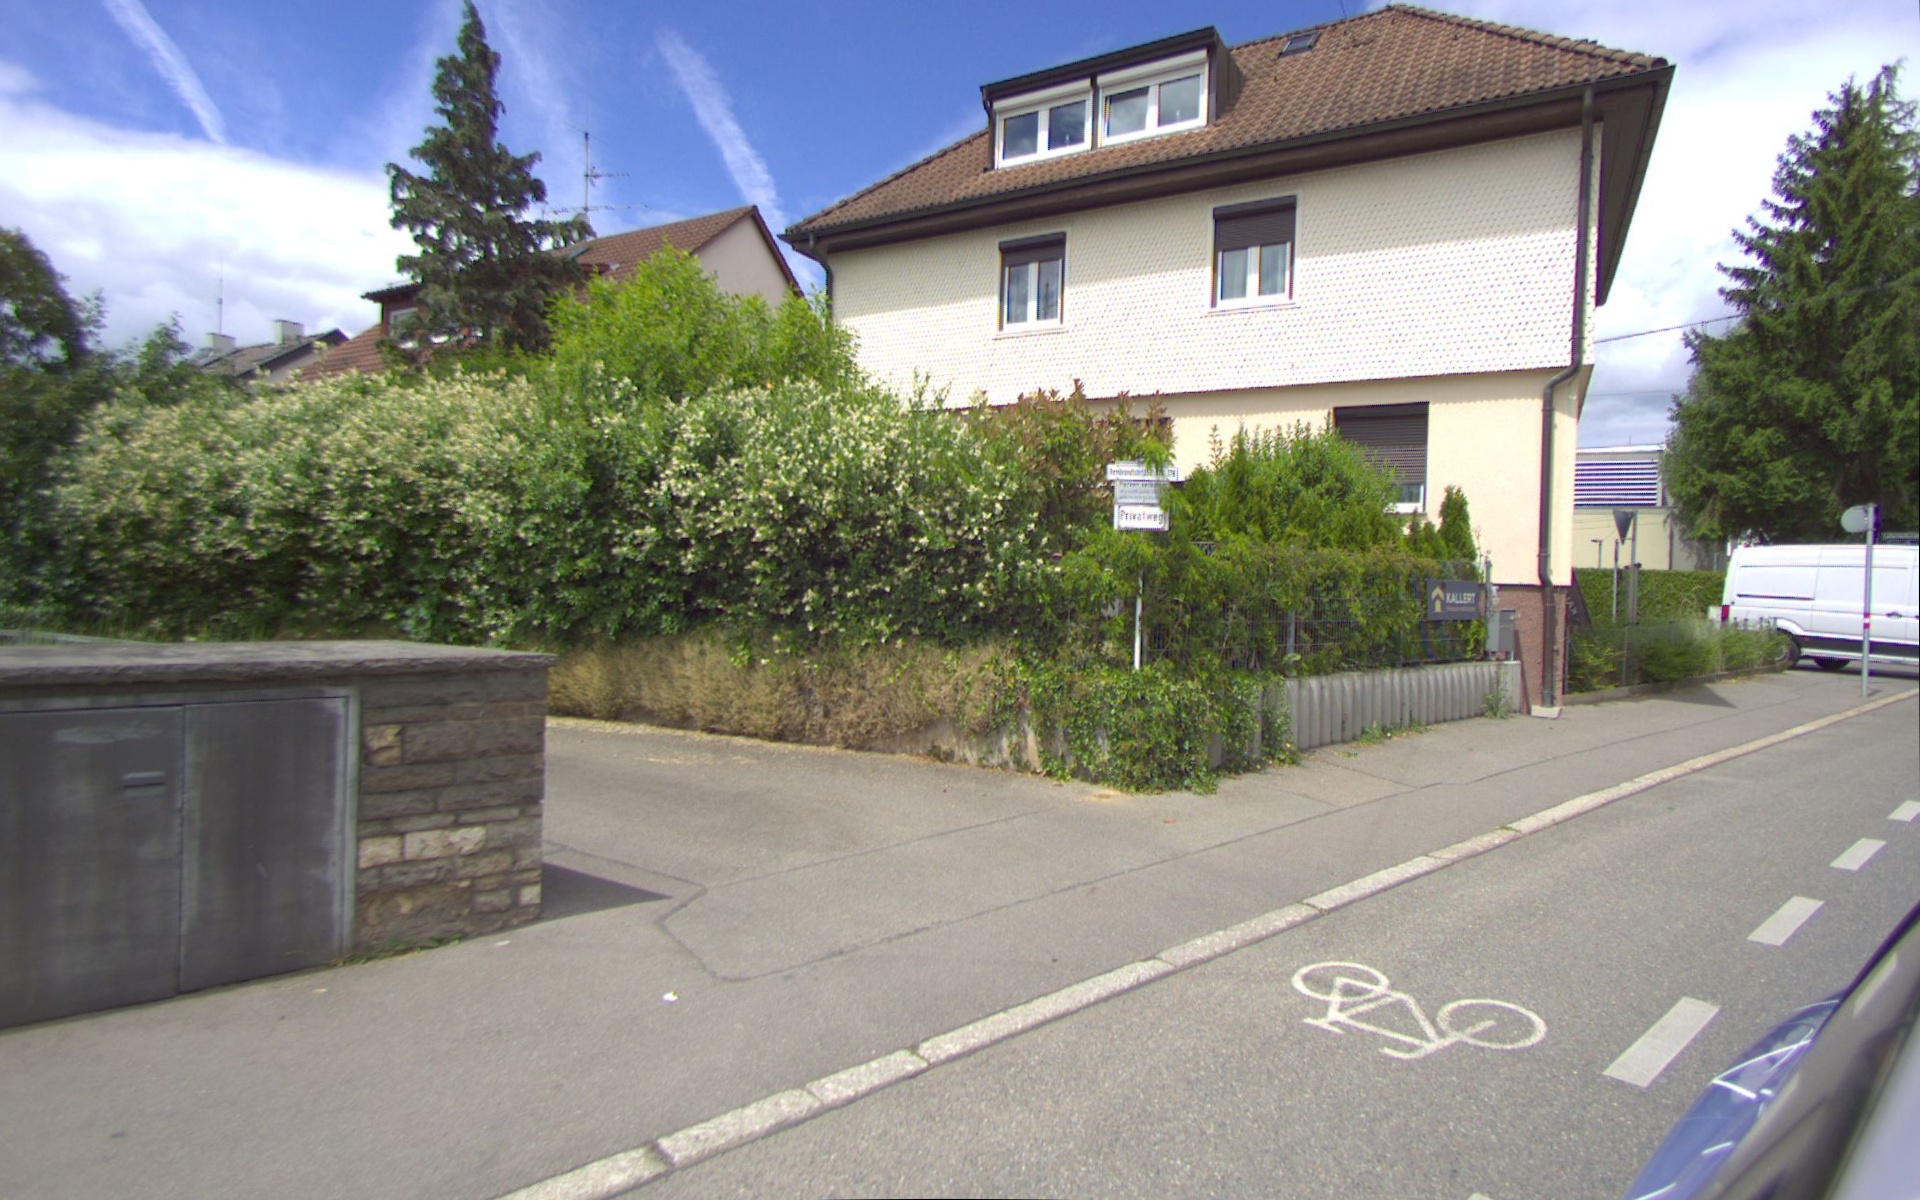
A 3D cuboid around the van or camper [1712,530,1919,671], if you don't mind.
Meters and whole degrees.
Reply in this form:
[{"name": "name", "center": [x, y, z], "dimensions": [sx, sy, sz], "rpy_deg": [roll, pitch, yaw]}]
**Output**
[{"name": "van or camper", "center": [18.432, 0.024, 19.695], "dimensions": [1.989, 2.613, 5.934], "rpy_deg": [1, 0, -21]}]
